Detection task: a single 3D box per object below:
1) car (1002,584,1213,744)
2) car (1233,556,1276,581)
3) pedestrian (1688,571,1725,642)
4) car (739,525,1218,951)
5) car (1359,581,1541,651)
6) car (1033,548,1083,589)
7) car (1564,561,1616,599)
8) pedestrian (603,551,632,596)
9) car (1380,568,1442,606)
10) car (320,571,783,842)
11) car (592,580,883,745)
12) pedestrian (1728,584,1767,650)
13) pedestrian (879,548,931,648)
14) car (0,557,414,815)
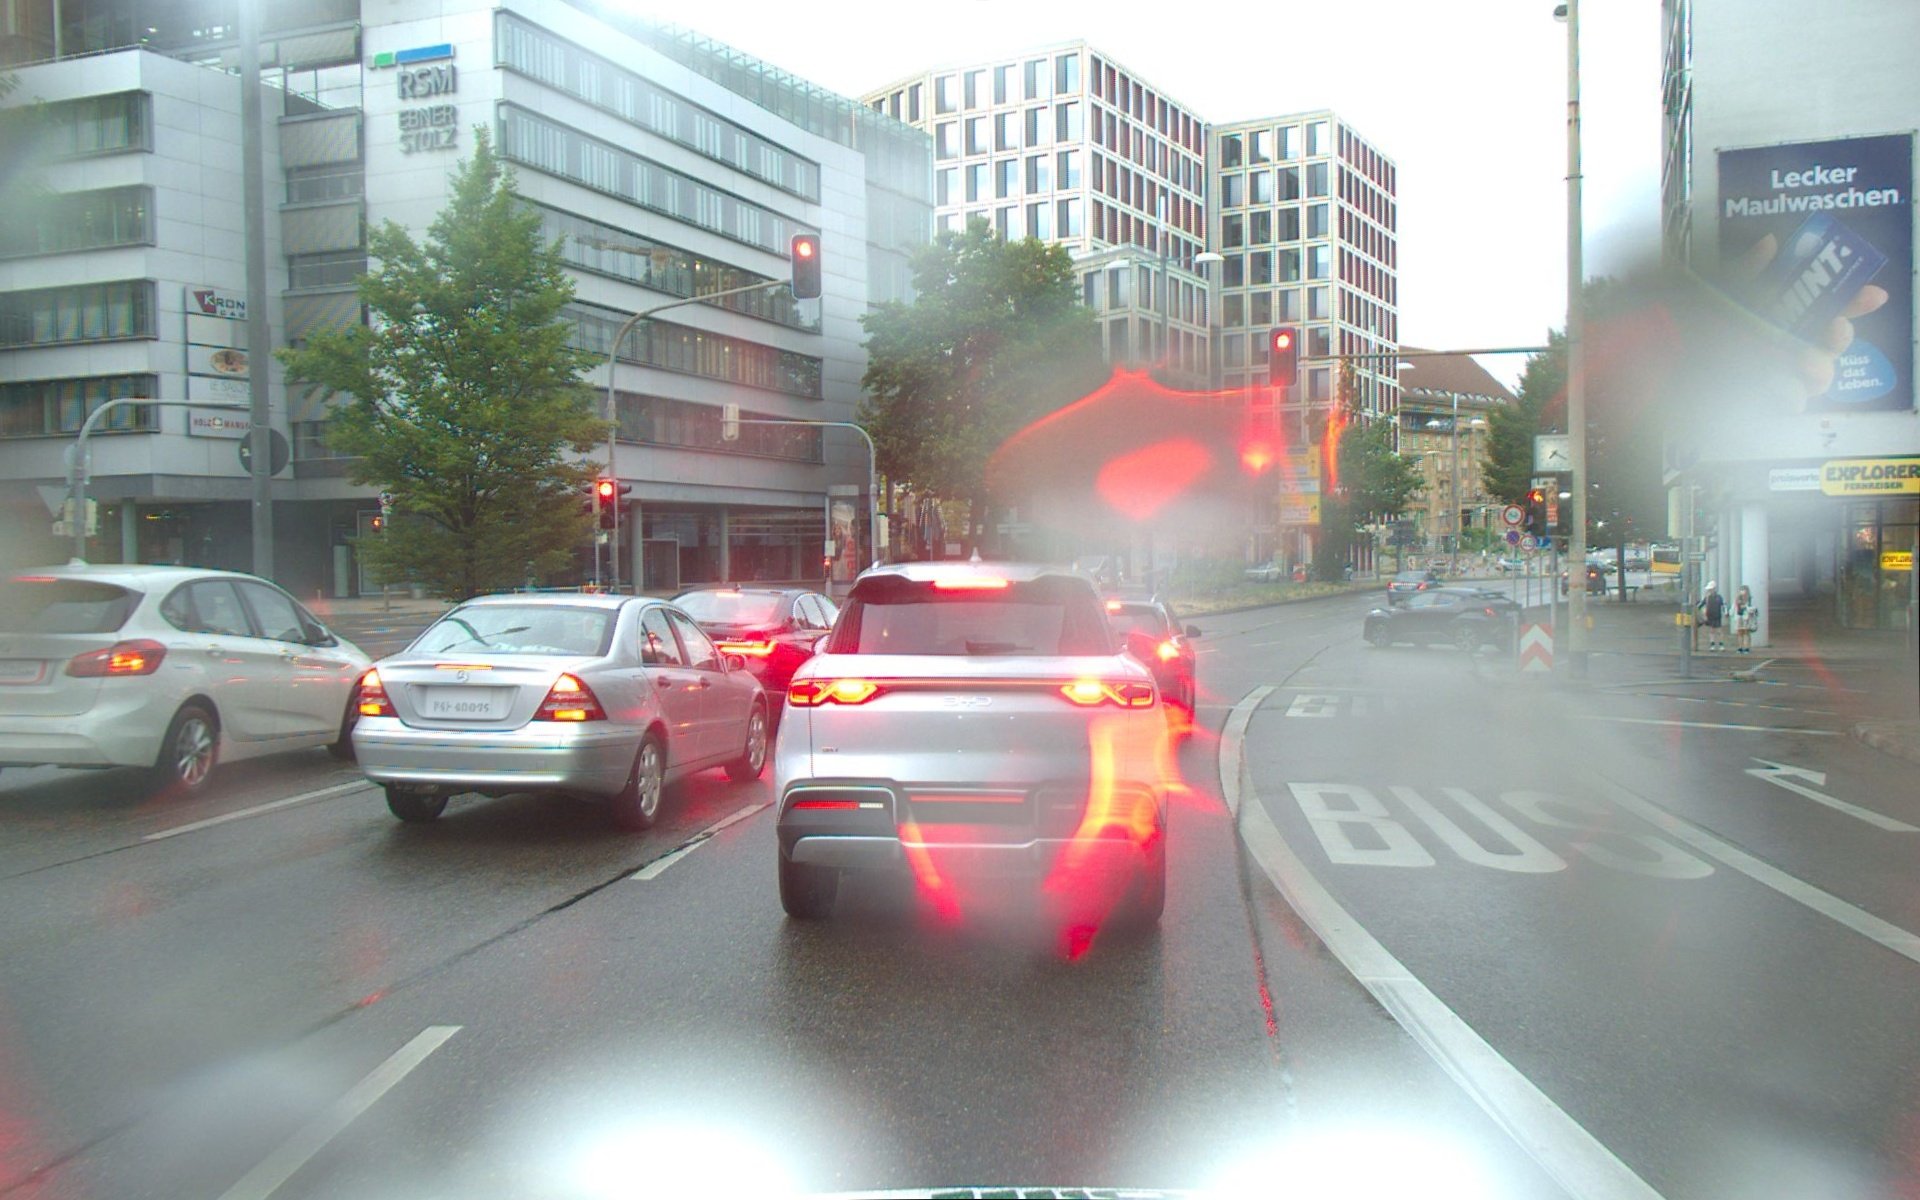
[{"bbox_3d":[1.747,0.604,18.338,1.913,1.556,4.004,0,1,11],"label":"car"},{"bbox_3d":[21.716,-2.376,121.934,1.955,1.735,4.304,1,3,27],"label":"car"},{"bbox_3d":[17.894,0.157,39.662,0.712,1.698,0.691,0,0,16],"label":"pedestrian"},{"bbox_3d":[0.106,0.534,8.997,1.952,1.739,4.483,0,1,1],"label":"car"},{"bbox_3d":[12.133,0.371,41.128,1.979,1.579,3.947,0,1,-38],"label":"car"},{"bbox_3d":[5.547,-1.757,92.884,1.701,2.199,4.496,1,1,18],"label":"car"},{"bbox_3d":[31.767,-1.001,83.304,2.007,1.796,4.352,2,1,27],"label":"car"},{"bbox_3d":[-13.446,-1.025,64.958,0.712,1.757,0.925,0,0,22],"label":"pedestrian"},{"bbox_3d":[19.340,-0.564,70.796,1.872,1.536,4.354,1,1,25],"label":"car"},{"bbox_3d":[-2.544,0.564,11.413,1.646,1.512,4.200,0,1,8],"label":"car"},{"bbox_3d":[-2.250,0.567,17.854,1.913,1.556,4.004,0,1,11],"label":"car"},{"bbox_3d":[18.587,0.395,39.068,0.712,1.551,0.760,0,0,16],"label":"pedestrian"},{"bbox_3d":[-0.995,-0.042,29.766,0.904,1.768,0.729,0,0,-5],"label":"pedestrian"},{"bbox_3d":[-5.847,0.509,12.458,1.746,1.601,4.290,0,1,5],"label":"car"}]
